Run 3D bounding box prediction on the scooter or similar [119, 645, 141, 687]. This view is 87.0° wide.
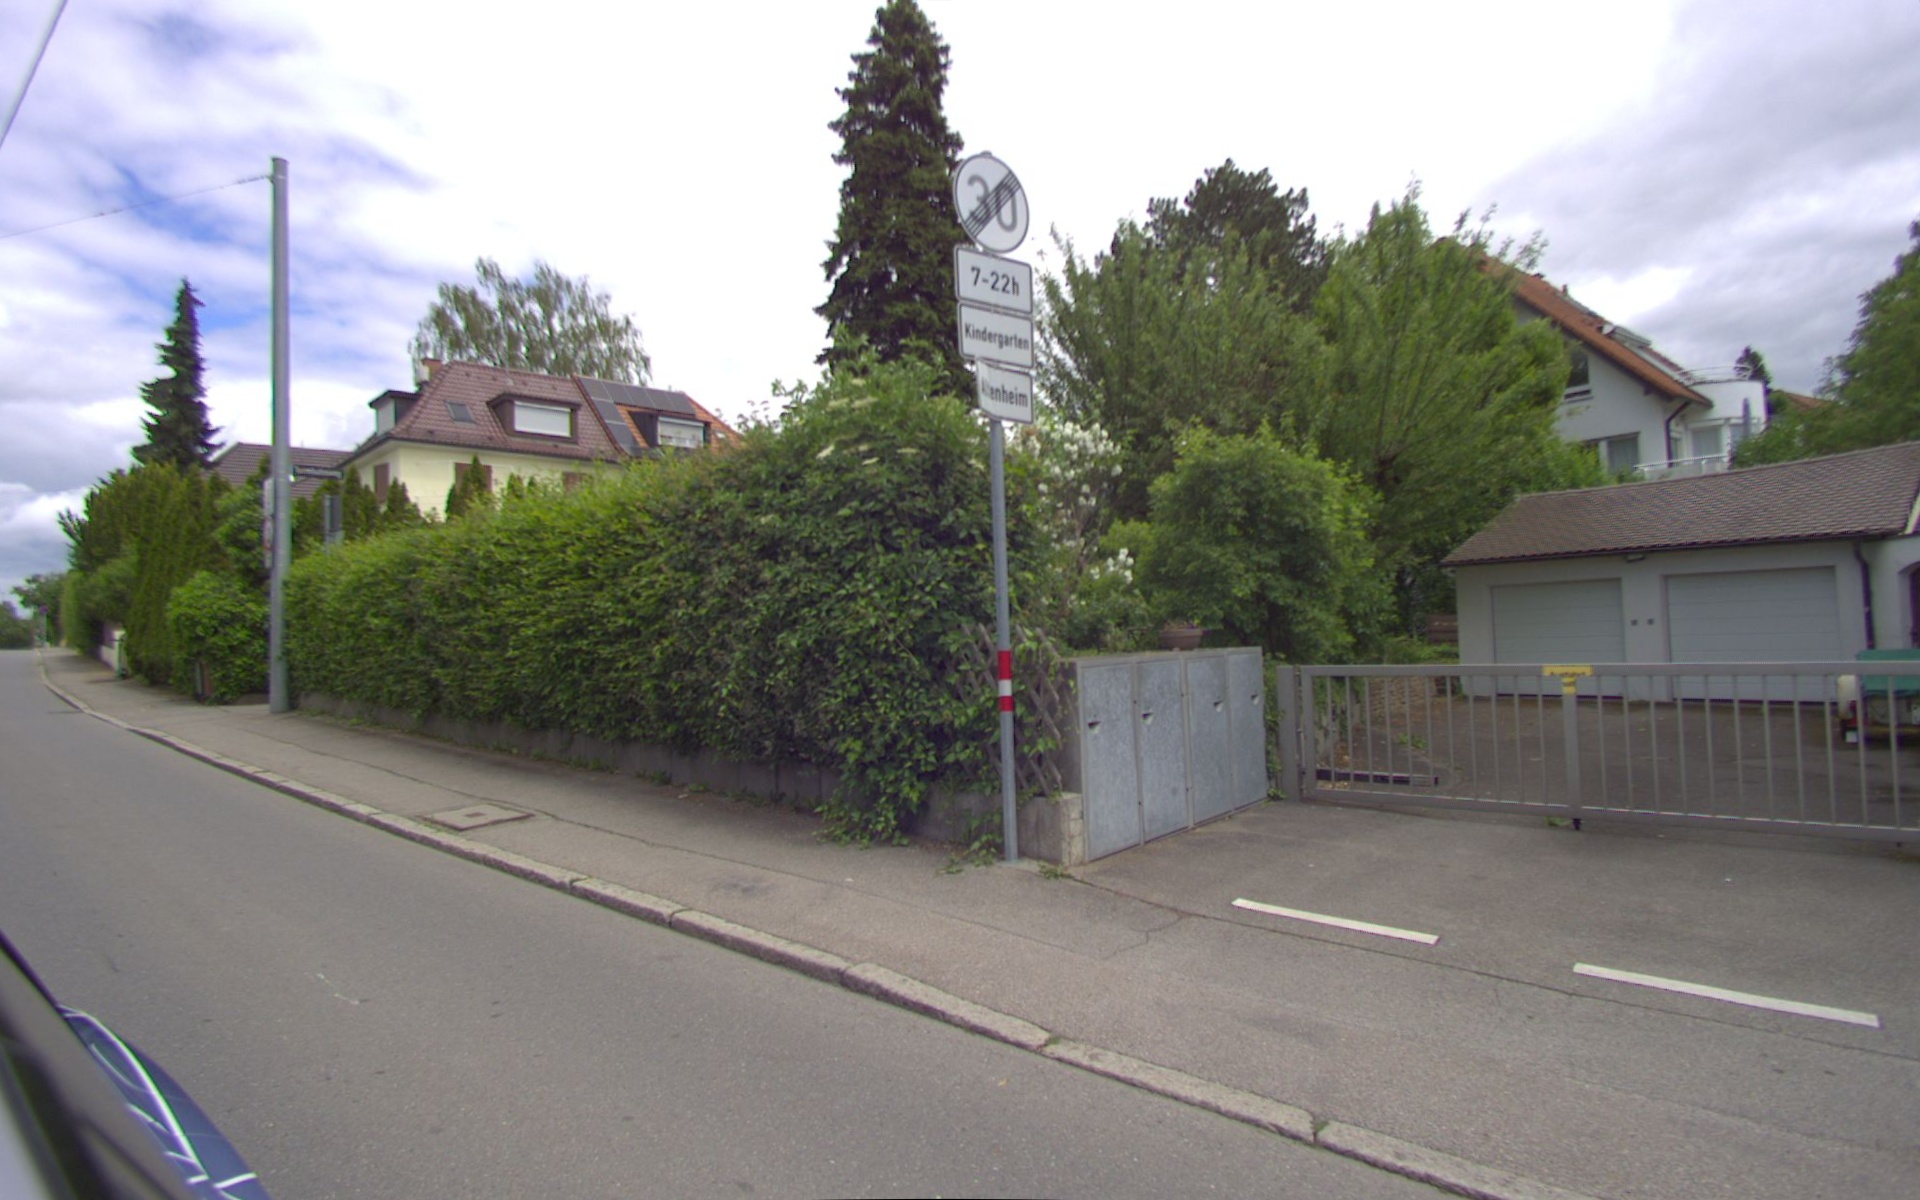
[{"bbox_3d":[-24.588,1.938,29.965,0.387,1.180,1.271,0,-1,-44],"label":"scooter or similar"}]

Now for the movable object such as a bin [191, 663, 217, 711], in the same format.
[{"bbox_3d":[-14.913,1.711,19.963,0.332,0.900,0.476,-2,0,-43],"label":"movable object such as a bin"}]

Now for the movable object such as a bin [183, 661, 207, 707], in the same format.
[{"bbox_3d":[-15.734,1.722,20.807,0.332,0.900,0.476,-2,0,-43],"label":"movable object such as a bin"}]

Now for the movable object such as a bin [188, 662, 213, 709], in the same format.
[{"bbox_3d":[-15.277,1.711,20.361,0.332,0.900,0.476,-2,0,-43],"label":"movable object such as a bin"}]
